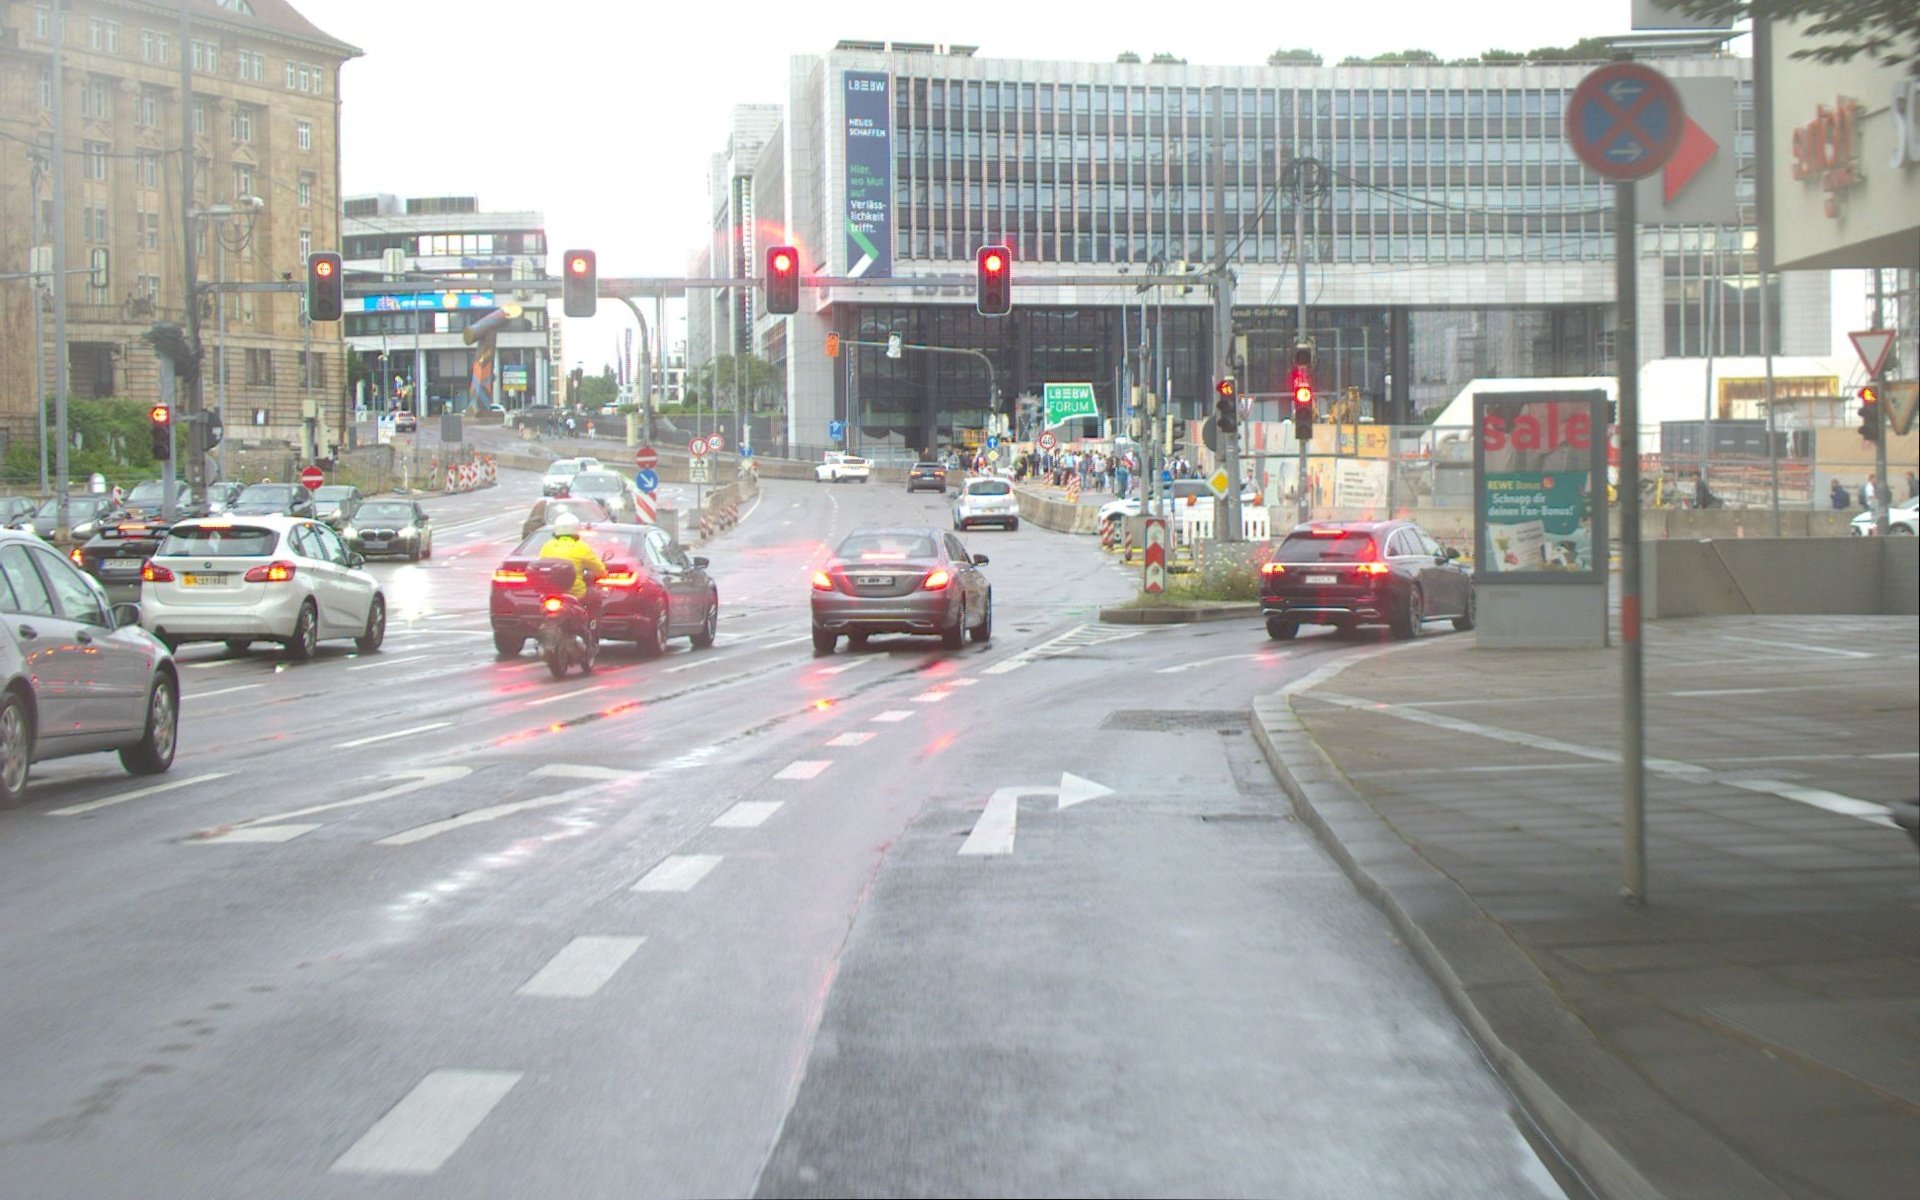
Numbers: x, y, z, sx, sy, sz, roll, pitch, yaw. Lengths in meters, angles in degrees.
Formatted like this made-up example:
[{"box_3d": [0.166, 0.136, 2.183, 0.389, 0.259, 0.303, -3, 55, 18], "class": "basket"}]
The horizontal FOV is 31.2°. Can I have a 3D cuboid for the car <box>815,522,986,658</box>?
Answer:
[{"box_3d": [-0.668, -0.165, 41.772, 1.783, 1.397, 4.487, 0, 3, 3], "class": "car"}]

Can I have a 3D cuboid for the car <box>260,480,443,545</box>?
[{"box_3d": [-14.446, -2.079, 81.535, 4.107, 1.501, 1.996, 1, 2, 36], "class": "car"}]

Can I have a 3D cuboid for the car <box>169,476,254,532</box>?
[{"box_3d": [-21.627, -2.777, 99.442, 1.697, 1.568, 4.001, 0, 1, -2], "class": "car"}]

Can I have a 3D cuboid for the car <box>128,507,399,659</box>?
[{"box_3d": [-7.734, -0.229, 38.544, 1.733, 1.610, 3.999, 0, 1, 8], "class": "car"}]

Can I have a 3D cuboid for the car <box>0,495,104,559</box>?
[{"box_3d": [-22.636, -1.827, 85.437, 1.697, 1.514, 3.875, -2, 2, 0], "class": "car"}]

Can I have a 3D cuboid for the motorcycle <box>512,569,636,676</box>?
[{"box_3d": [-3.885, 0.209, 34.797, 0.942, 0.986, 2.294, 0, 2, 1], "class": "motorcycle"}]

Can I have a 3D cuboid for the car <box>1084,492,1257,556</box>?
[{"box_3d": [5.463, -1.985, 89.297, 3.994, 1.634, 1.997, 1, 2, 31], "class": "car"}]

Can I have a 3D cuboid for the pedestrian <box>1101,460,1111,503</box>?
[{"box_3d": [6.349, -5.136, 149.163, 0.361, 1.891, 0.576, 0, 1, -5], "class": "pedestrian"}]

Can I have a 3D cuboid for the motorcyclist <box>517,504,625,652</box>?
[{"box_3d": [-3.920, -0.230, 34.748, 0.941, 1.470, 1.100, 0, 1, 1], "class": "motorcyclist"}]

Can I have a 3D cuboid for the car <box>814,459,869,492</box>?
[{"box_3d": [-6.690, -7.000, 193.577, 1.993, 1.809, 4.001, 0, 1, -20], "class": "car"}]

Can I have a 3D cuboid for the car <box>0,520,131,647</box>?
[{"box_3d": [-10.971, -0.214, 38.692, 1.784, 1.368, 3.992, 0, 1, 10], "class": "car"}]

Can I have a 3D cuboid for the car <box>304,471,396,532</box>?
[{"box_3d": [-16.035, -2.611, 90.553, 1.821, 1.481, 4.001, -1, 3, -2], "class": "car"}]

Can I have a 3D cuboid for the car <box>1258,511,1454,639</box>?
[{"box_3d": [5.074, -0.347, 43.651, 1.892, 1.538, 3.991, 1, 1, 15], "class": "car"}]

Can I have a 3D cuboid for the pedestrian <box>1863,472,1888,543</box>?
[{"box_3d": [24.746, -2.499, 92.931, 0.574, 1.891, 0.362, 0, 1, 2], "class": "pedestrian"}]

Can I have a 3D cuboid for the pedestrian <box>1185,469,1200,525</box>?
[{"box_3d": [7.889, -3.481, 116.620, 0.361, 1.891, 0.577, 0, 1, -13], "class": "pedestrian"}]

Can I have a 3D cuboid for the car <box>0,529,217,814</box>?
[{"box_3d": [-5.517, 0.322, 18.665, 1.733, 1.399, 4.383, 0, 1, 4], "class": "car"}]

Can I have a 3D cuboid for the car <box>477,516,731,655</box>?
[{"box_3d": [-4.070, -0.213, 40.132, 1.887, 1.509, 5.001, 0, 1, 7], "class": "car"}]

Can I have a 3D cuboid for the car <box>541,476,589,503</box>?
[{"box_3d": [-18.861, -5.273, 164.235, 1.767, 1.256, 4.194, 0, 1, 0], "class": "car"}]

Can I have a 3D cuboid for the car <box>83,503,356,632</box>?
[{"box_3d": [-9.628, -0.456, 45.007, 1.784, 1.594, 4.070, 1, 1, 16], "class": "car"}]

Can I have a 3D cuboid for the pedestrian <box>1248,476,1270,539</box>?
[{"box_3d": [9.027, -2.802, 103.807, 0.361, 1.891, 0.576, -1, 1, -34], "class": "pedestrian"}]

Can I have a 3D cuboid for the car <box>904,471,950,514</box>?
[{"box_3d": [-1.561, -5.039, 161.922, 1.993, 2.007, 4.001, 0, 1, -3], "class": "car"}]

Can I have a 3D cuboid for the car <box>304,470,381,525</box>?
[{"box_3d": [-18.204, -3.019, 101.442, 1.697, 1.568, 4.001, 0, 1, -2], "class": "car"}]

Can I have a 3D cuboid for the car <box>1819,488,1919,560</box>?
[{"box_3d": [23.539, -1.868, 84.619, 4.405, 1.760, 2.000, 0, 1, 6], "class": "car"}]

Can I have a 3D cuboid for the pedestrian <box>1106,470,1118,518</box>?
[{"box_3d": [6.010, -4.173, 135.940, 0.361, 1.891, 0.576, 0, 1, -5], "class": "pedestrian"}]

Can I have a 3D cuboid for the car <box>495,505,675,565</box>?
[{"box_3d": [-8.710, -1.523, 79.614, 4.109, 1.340, 1.995, 2, 2, 44], "class": "car"}]

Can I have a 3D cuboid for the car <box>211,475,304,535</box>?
[{"box_3d": [-18.881, -2.555, 92.595, 1.801, 1.568, 4.075, 0, 1, -2], "class": "car"}]

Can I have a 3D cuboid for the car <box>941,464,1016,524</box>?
[{"box_3d": [0.541, -3.216, 104.202, 1.727, 1.634, 3.436, 0, 5, -9], "class": "car"}]
